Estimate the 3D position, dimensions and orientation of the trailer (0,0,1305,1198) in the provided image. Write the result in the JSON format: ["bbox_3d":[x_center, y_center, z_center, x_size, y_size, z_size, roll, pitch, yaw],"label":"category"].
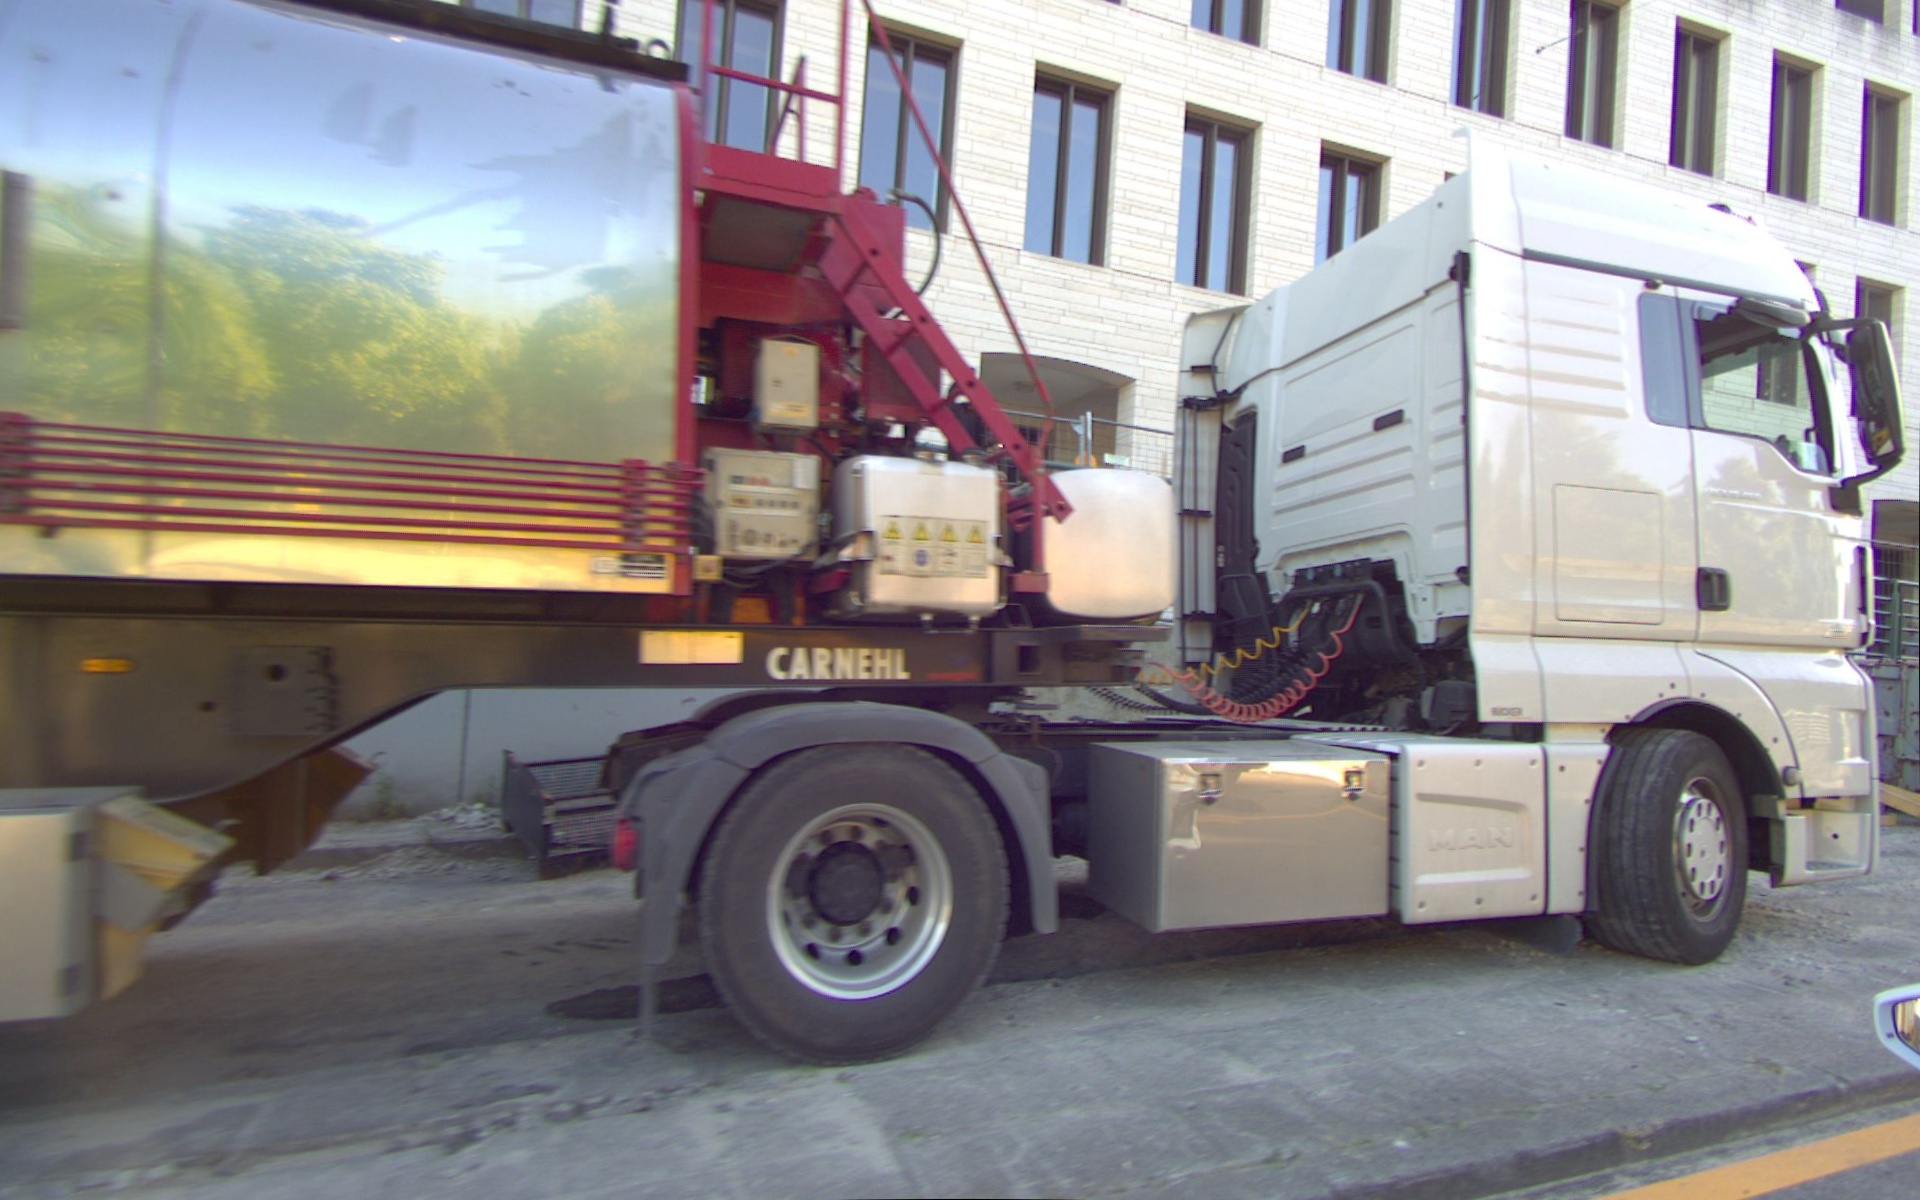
[{"bbox_3d":[-3.260,-0.416,3.406,8.616,3.716,2.640,2,-5,-20],"label":"trailer"}]

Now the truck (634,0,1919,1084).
[{"bbox_3d":[1.425,-0.231,5.066,5.723,3.534,2.579,2,-4,-18],"label":"truck"}]

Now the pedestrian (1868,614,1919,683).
[{"bbox_3d":[20.929,1.087,22.361,0.785,1.507,0.671,0,-4,-15],"label":"pedestrian"}]
